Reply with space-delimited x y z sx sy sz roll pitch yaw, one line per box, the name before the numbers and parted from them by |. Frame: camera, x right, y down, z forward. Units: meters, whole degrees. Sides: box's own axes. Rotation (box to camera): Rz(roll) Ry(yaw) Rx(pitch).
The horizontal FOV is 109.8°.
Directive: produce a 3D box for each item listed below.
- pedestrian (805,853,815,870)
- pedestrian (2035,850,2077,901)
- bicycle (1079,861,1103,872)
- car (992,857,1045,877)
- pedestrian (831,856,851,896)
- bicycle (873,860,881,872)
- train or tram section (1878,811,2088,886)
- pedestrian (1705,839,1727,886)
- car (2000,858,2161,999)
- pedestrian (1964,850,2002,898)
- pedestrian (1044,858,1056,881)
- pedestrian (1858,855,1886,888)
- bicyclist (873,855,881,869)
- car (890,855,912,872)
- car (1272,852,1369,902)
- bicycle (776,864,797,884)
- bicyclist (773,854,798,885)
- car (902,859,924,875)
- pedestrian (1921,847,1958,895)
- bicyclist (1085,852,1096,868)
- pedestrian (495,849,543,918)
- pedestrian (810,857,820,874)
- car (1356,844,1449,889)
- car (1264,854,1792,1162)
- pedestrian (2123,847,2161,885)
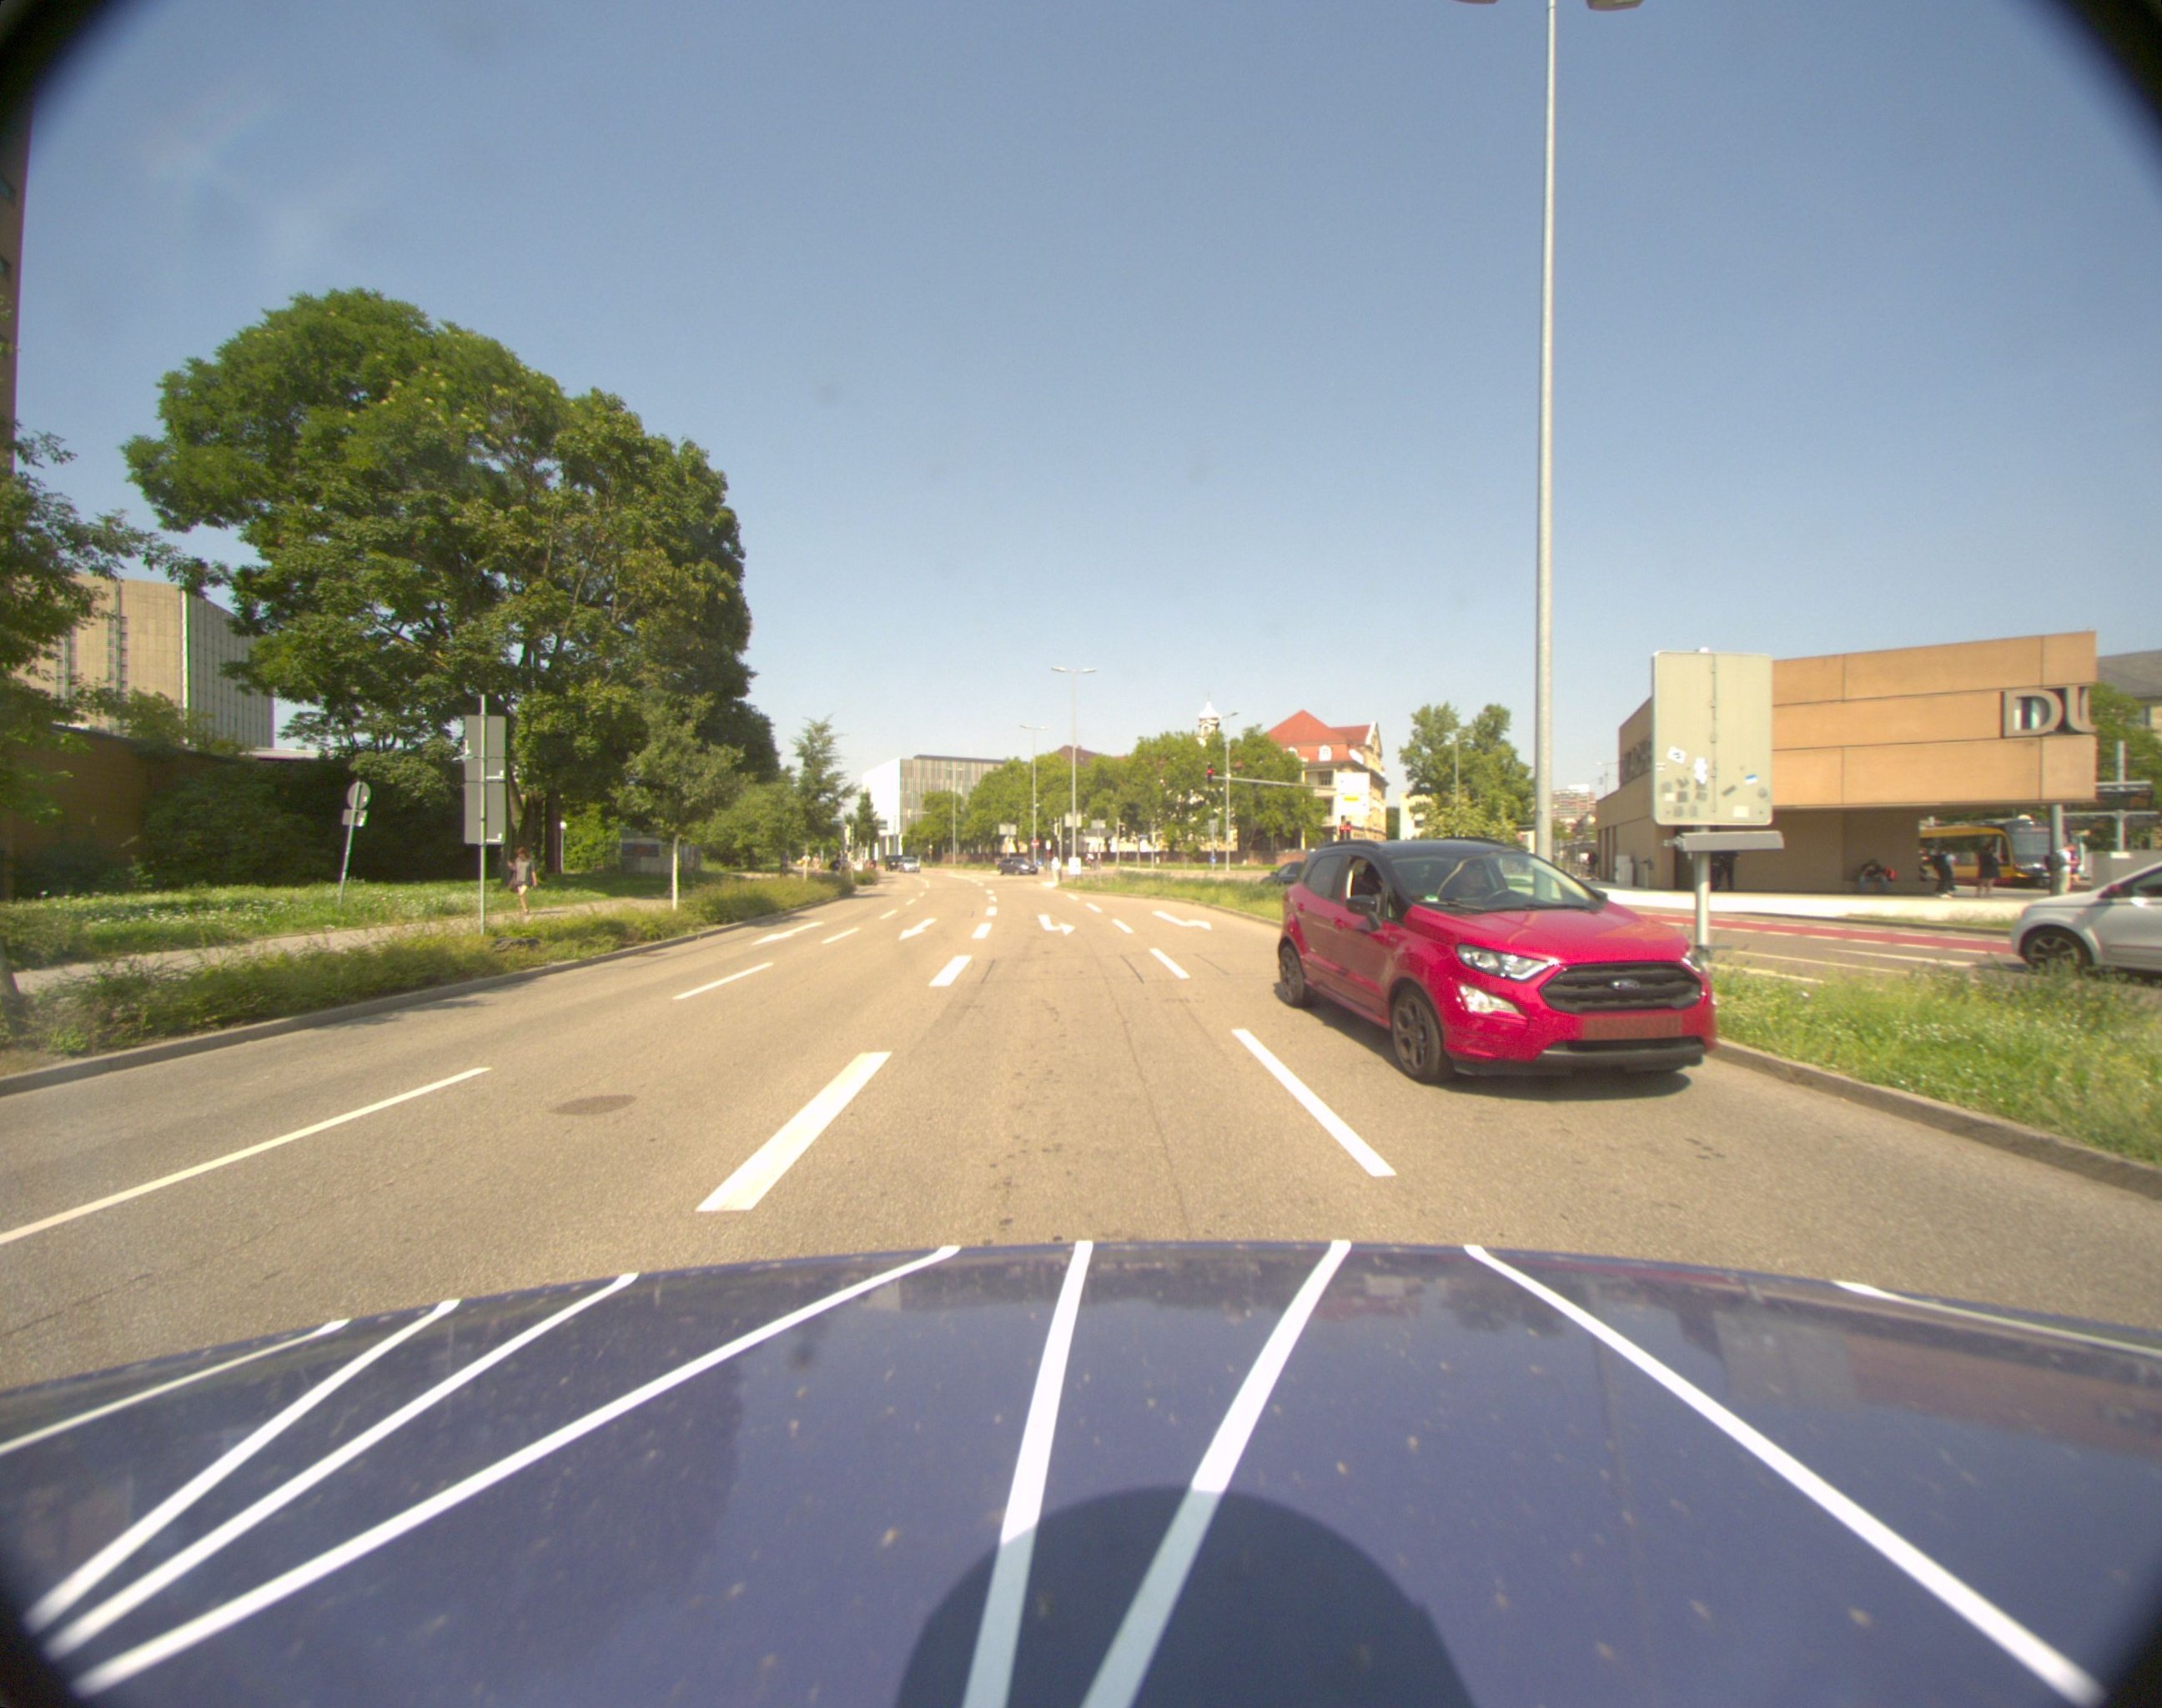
pedestrian | -21.047 0.590 58.943 0.635 1.291 0.486 -3 1 -25
pedestrian | 28.972 0.625 22.579 0.539 1.488 0.541 0 1 -1
bicycle | 0.995 1.175 73.645 2.267 1.070 0.659 0 0 -6
car | -5.094 1.057 61.977 3.989 1.608 1.803 0 0 27
pedestrian | -11.561 1.048 36.562 0.823 1.892 0.630 0 1 -12
bicycle | -20.383 1.209 76.010 0.595 1.162 2.232 -1 0 -19
train or tram section | 48.199 -0.249 41.350 2.697 3.418 13.446 0 0 29
pedestrian | 22.253 0.281 26.638 0.540 1.615 0.689 0 1 36
car | 12.181 0.794 7.675 1.525 1.470 3.476 0 0 -2
pedestrian | 27.967 0.617 23.564 0.539 1.488 0.541 0 1 -1
pedestrian | -1.817 0.924 44.420 0.605 1.291 0.617 -2 1 -4
pedestrian | 26.616 0.588 25.578 0.538 1.093 0.543 0 1 32
bicyclist | -20.392 0.777 76.033 0.680 1.392 1.048 -1 0 -18
car | -20.883 1.060 88.079 1.893 1.908 4.526 -2 0 -20
car | 7.318 0.657 23.511 1.526 1.417 3.475 0 0 -8
bicycle | -15.288 1.033 39.475 0.357 0.974 1.782 0 0 1
bicyclist | -15.318 0.797 39.401 0.904 1.596 0.924 0 0 -1
car | -17.698 1.375 79.845 1.661 1.521 4.526 -2 0 -20
pedestrian | 26.802 0.531 23.728 0.539 1.488 0.541 0 1 -1
bicyclist | 0.915 0.609 73.635 1.017 1.542 0.718 0 0 -6
pedestrian | -14.191 0.732 19.203 0.672 1.689 0.805 0 1 -11
pedestrian | -20.643 0.872 58.976 0.618 1.291 0.436 -3 1 -26
car | 13.997 0.496 33.319 1.869 1.843 3.911 0 1 -11
car | 2.871 0.818 5.979 1.695 1.577 3.843 -2 0 -3
pedestrian | 48.054 0.542 34.143 1.076 1.686 1.066 0 1 28
